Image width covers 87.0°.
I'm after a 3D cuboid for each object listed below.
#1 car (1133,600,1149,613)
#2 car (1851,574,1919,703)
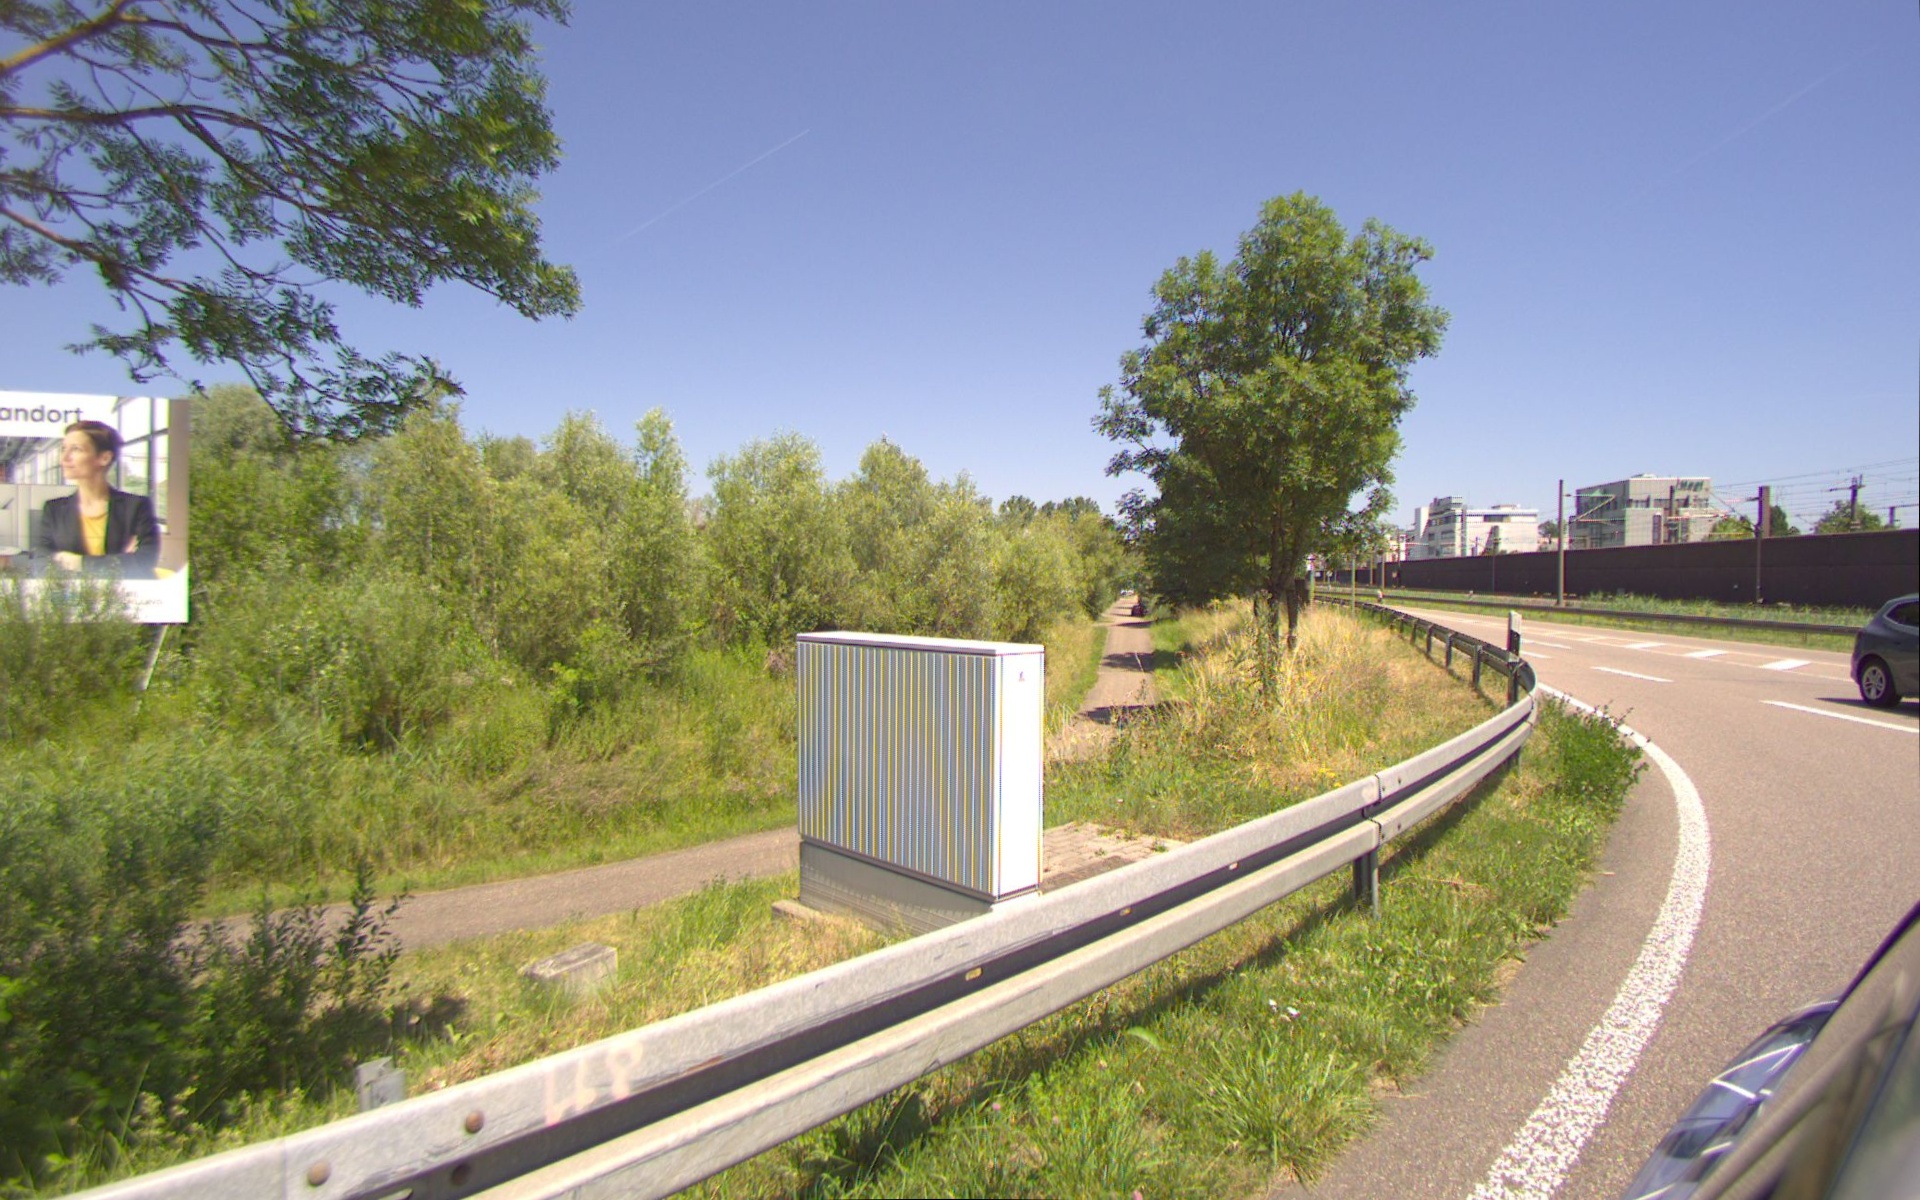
[{"bbox_3d":[23.273,0.833,129.902,1.968,1.705,3.988,0,0,11],"label":"car"},{"bbox_3d":[13.049,0.542,11.985,1.822,1.643,4.212,2,2,12],"label":"car"}]
